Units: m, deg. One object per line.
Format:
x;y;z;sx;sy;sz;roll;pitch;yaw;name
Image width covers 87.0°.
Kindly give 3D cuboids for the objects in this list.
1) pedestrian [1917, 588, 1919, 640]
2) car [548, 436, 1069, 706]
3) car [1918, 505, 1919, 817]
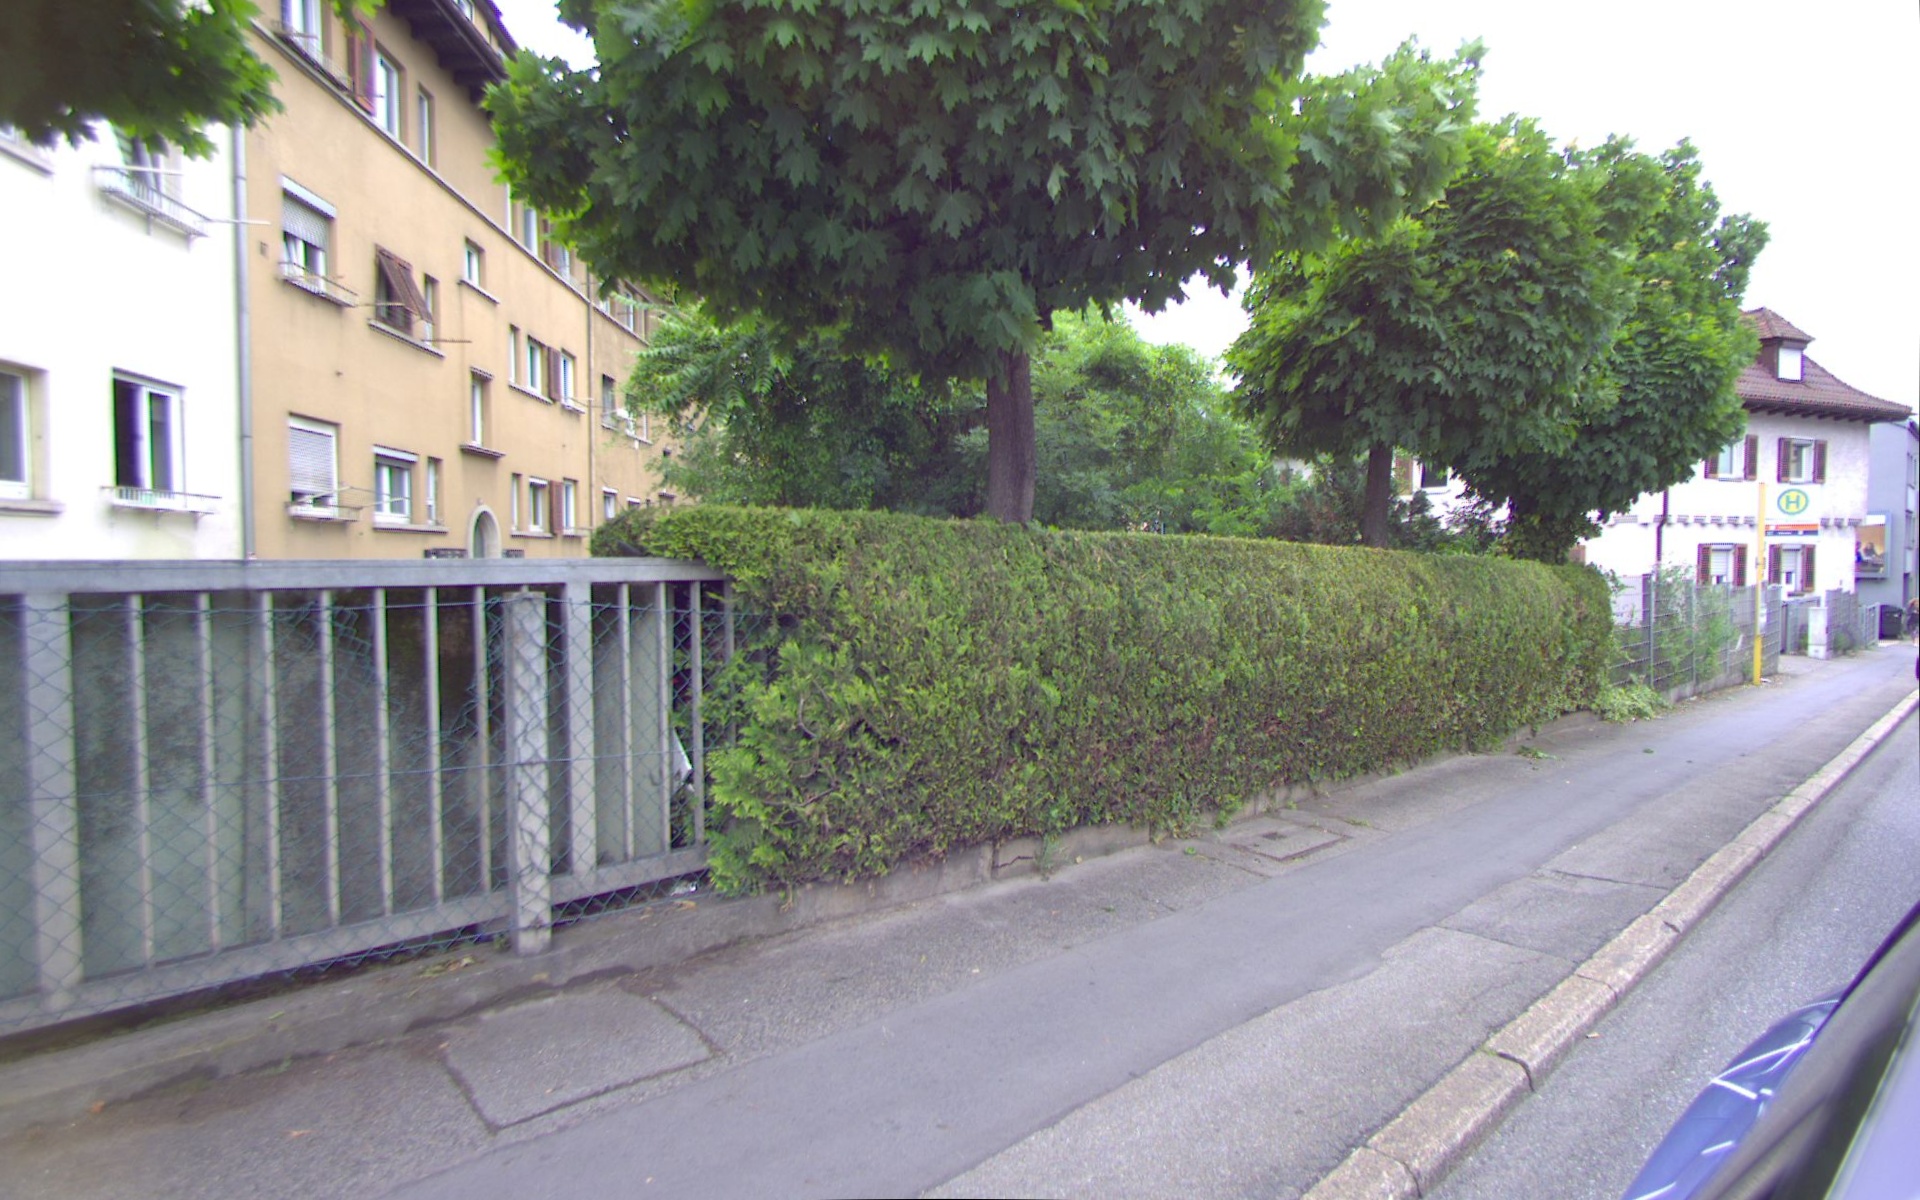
34.210;0.499;35.650;0.581;1.863;0.647;1;0;-38;pedestrian
-0.961;-0.179;7.328;3.381;1.478;1.698;-1;1;-43;car
5.814;0.538;4.465;4.629;1.804;1.861;-1;0;-41;car
